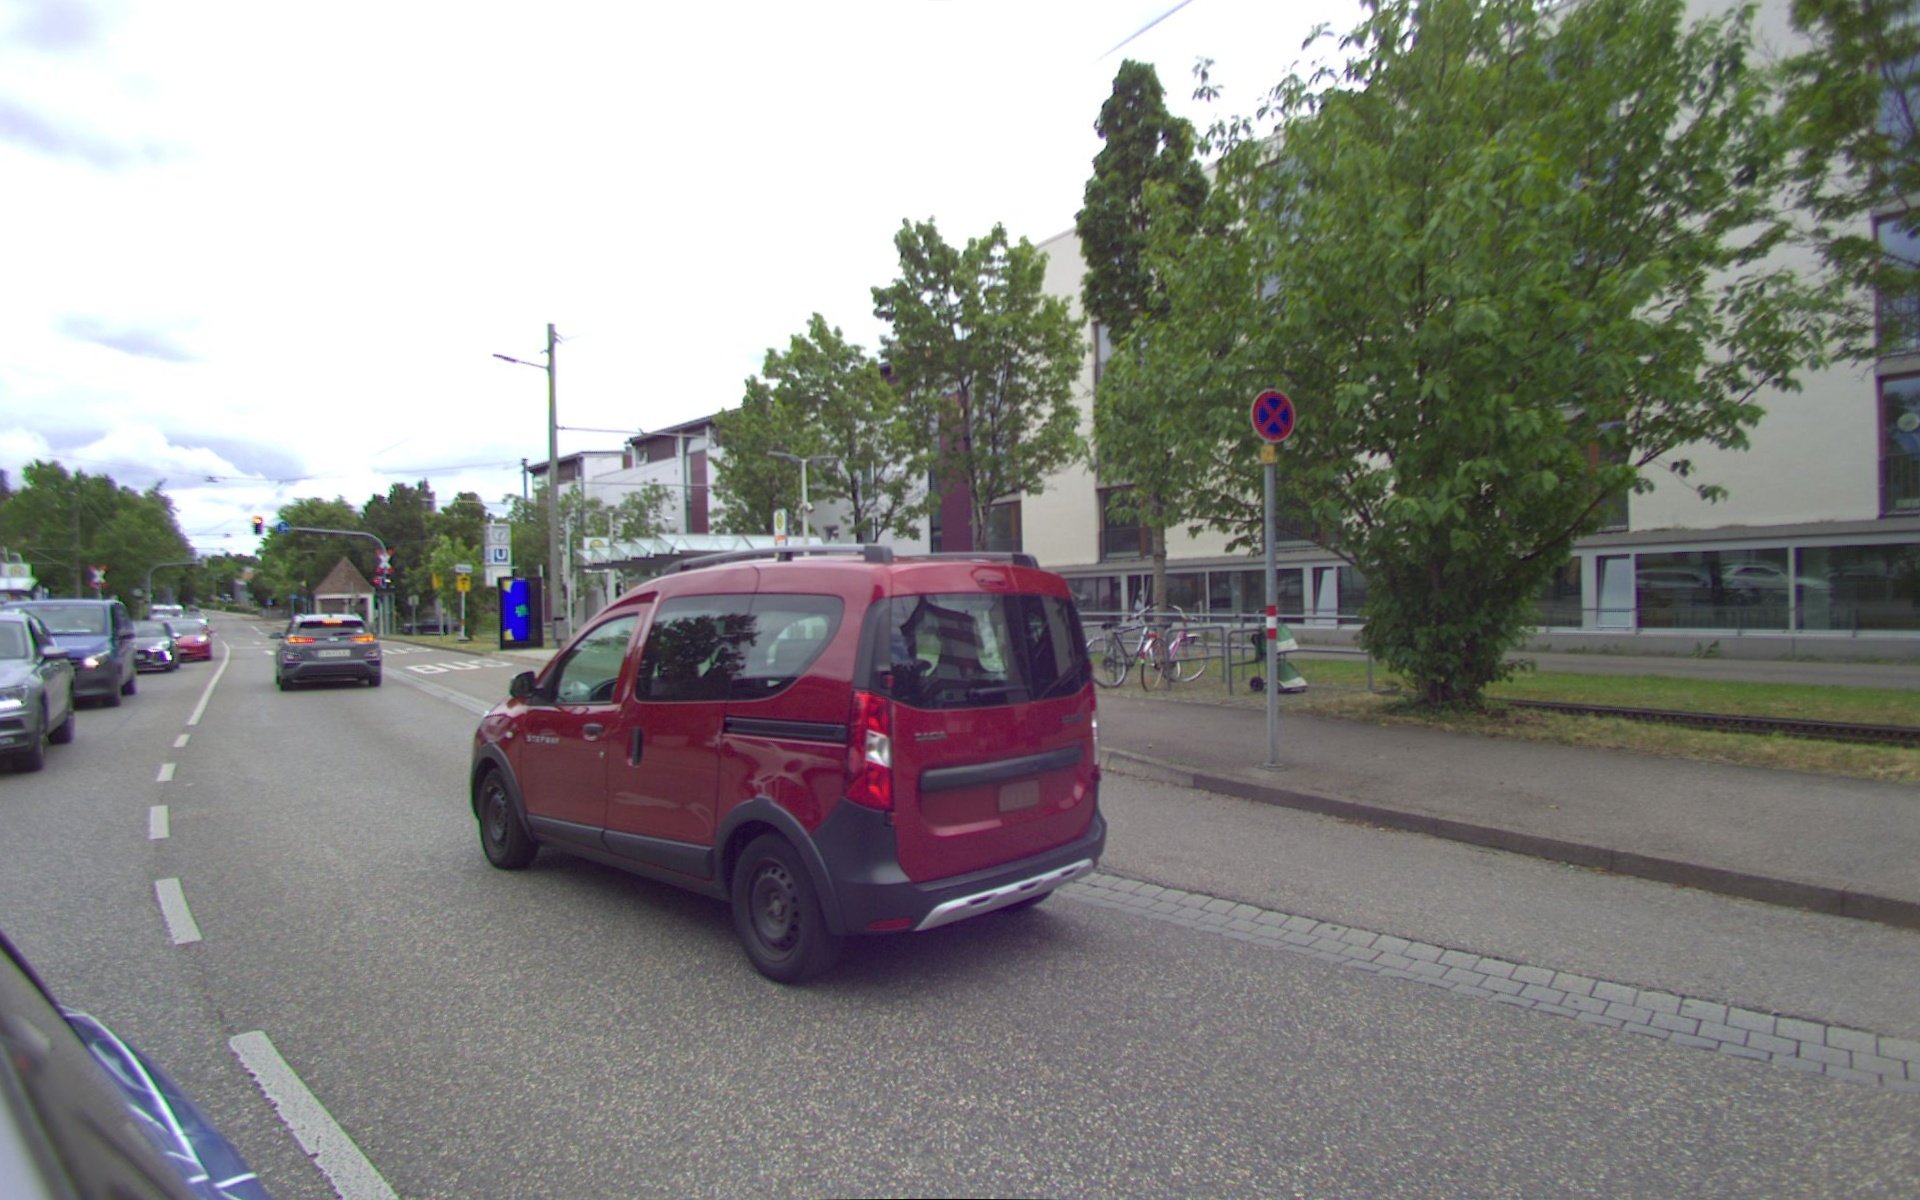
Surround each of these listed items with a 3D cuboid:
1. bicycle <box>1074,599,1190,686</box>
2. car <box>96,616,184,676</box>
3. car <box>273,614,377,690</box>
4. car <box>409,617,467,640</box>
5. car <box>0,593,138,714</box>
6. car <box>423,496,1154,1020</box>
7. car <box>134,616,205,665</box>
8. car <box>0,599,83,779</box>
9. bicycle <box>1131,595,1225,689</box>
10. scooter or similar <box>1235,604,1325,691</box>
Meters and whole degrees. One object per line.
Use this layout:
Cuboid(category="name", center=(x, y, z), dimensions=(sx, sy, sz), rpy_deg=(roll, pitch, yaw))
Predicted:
Cuboid(category="bicycle", center=(2.391, 0.564, 13.949), dimensions=(1.725, 1.054, 0.409), rpy_deg=(-4, 1, -34))
Cuboid(category="car", center=(-23.198, 1.249, 28.635), dimensions=(1.822, 1.546, 4.007), rpy_deg=(-1, 0, -40))
Cuboid(category="car", center=(-13.767, 1.058, 21.837), dimensions=(1.744, 1.490, 4.010), rpy_deg=(1, -1, -34))
Cuboid(category="car", center=(-42.858, 2.339, 83.134), dimensions=(3.936, 1.719, 1.932), rpy_deg=(-2, 0, -39))
Cuboid(category="car", center=(-15.883, 0.867, 17.868), dimensions=(1.820, 1.875, 4.010), rpy_deg=(-1, 0, -35))
Cuboid(category="car", center=(-1.254, 0.590, 5.612), dimensions=(4.351, 1.822, 1.663), rpy_deg=(-1, -2, 42))
Cuboid(category="car", center=(-27.248, 1.340, 34.836), dimensions=(1.822, 1.546, 4.007), rpy_deg=(-1, 0, -40))
Cuboid(category="car", center=(-10.766, 0.870, 10.720), dimensions=(1.783, 1.659, 4.341), rpy_deg=(-2, 0, -35))
Cuboid(category="bicycle", center=(2.902, 0.522, 13.366), dimensions=(0.408, 1.097, 1.687), rpy_deg=(-2, 1, 42))
Cuboid(category="scooter or similar", center=(3.978, 0.573, 12.589), dimensions=(0.778, 1.017, 0.774), rpy_deg=(-2, 0, -43))
